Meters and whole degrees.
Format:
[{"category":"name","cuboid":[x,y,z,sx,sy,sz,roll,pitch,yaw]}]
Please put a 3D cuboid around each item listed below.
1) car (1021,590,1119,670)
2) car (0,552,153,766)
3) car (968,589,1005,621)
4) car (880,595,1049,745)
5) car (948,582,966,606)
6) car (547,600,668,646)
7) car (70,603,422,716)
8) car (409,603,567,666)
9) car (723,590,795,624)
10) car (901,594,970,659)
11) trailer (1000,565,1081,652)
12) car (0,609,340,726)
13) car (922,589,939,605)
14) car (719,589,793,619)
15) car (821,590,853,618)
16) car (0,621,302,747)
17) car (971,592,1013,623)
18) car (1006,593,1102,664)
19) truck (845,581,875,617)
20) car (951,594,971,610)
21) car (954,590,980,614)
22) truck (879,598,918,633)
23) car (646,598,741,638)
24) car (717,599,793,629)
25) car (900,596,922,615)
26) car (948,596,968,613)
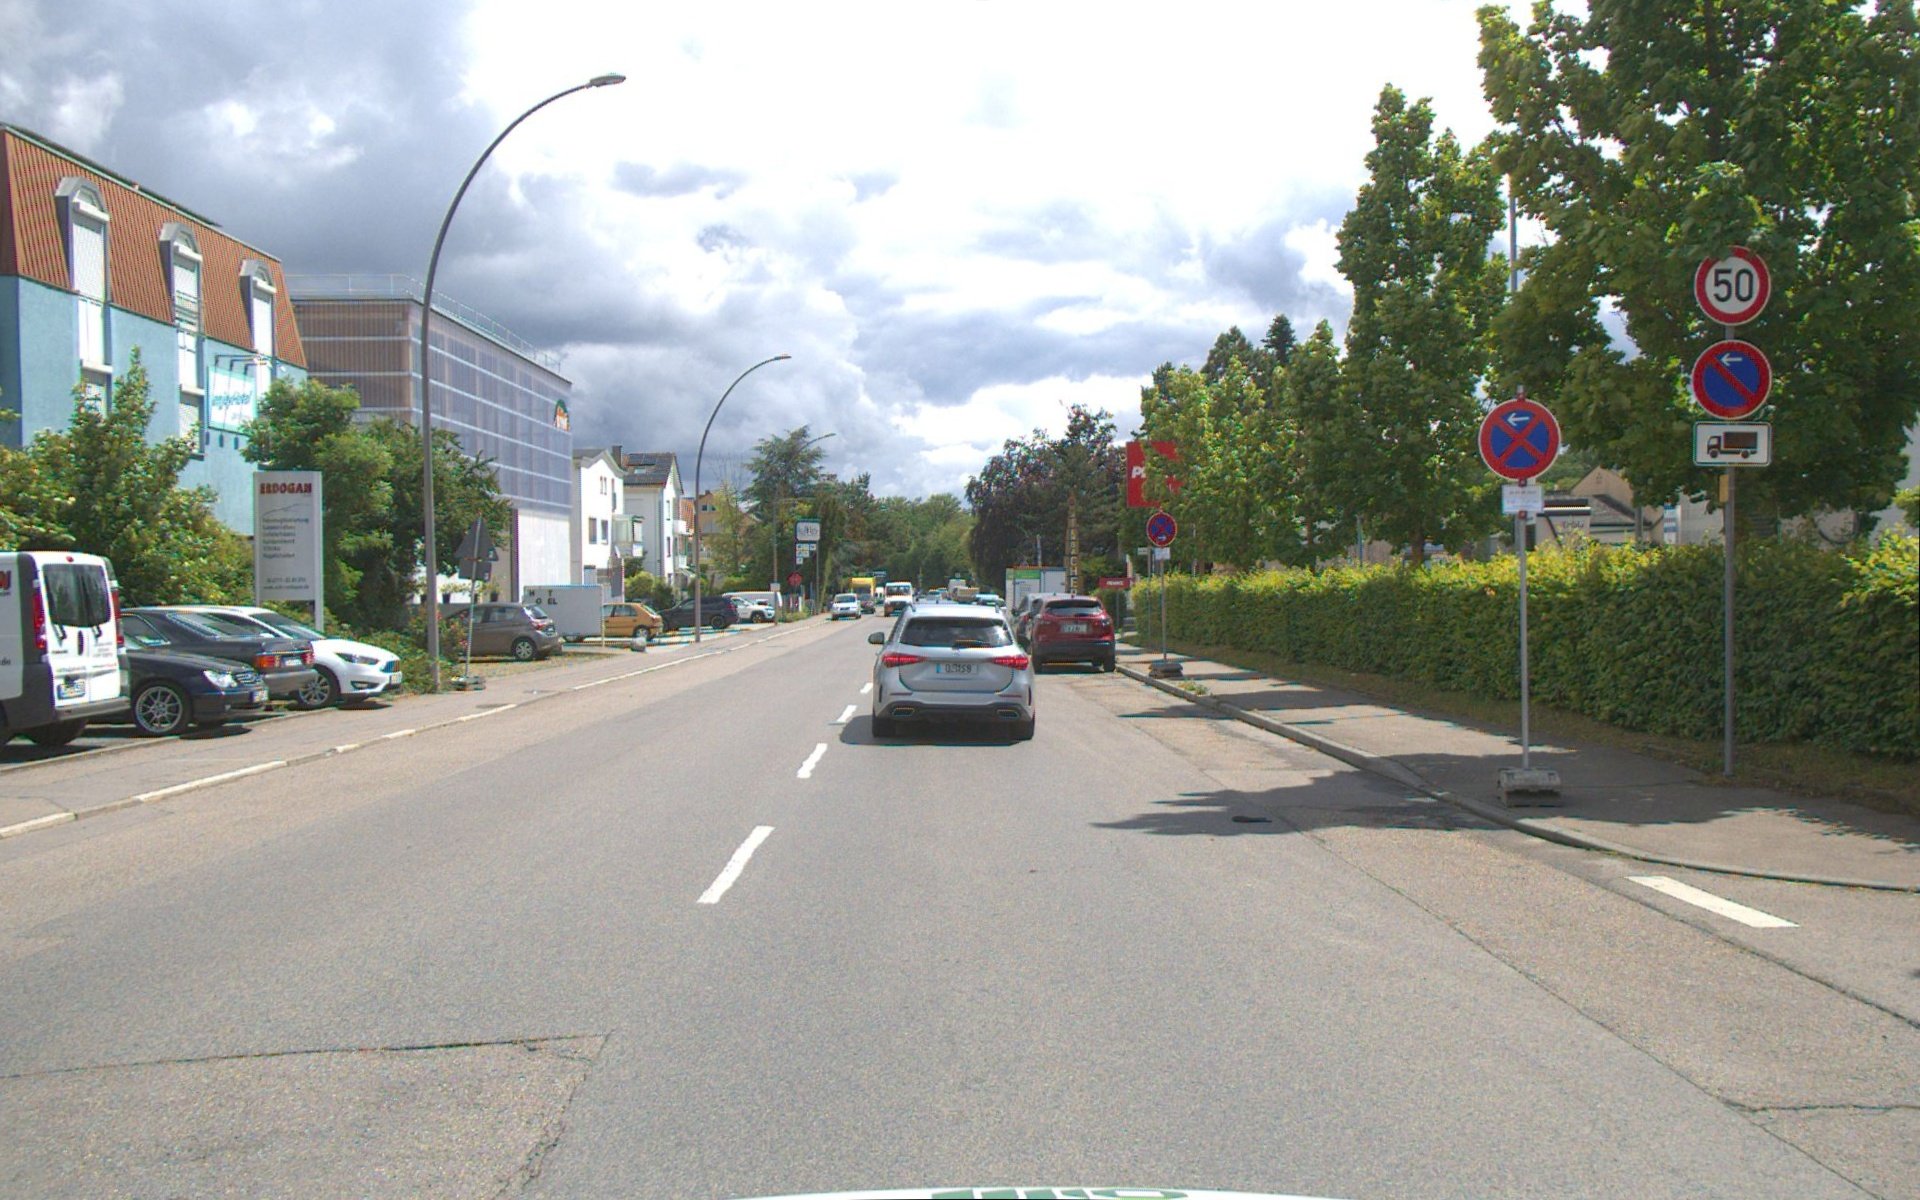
[{"category":"car","cuboid":[2.358,0.605,36.411,1.901,1.599,4.446,-1,1,1]},{"category":"car","cuboid":[-10.850,0.583,16.457,4.560,2.006,2.113,-1,1,-5]},{"category":"car","cuboid":[1.415,0.251,89.025,1.756,1.579,4.572,-2,1,-2]},{"category":"car","cuboid":[-0.057,0.721,19.263,1.749,1.510,4.314,0,1,-3]},{"category":"car","cuboid":[-0.317,-0.608,179.833,1.749,2.562,4.314,0,0,-3]},{"category":"car","cuboid":[-12.808,0.823,60.307,4.068,1.518,1.824,1,0,-5]},{"category":"car","cuboid":[-10.316,0.843,24.130,4.286,1.504,1.871,-1,-1,-1]},{"category":"car","cuboid":[-12.417,0.890,43.645,3.553,1.559,1.980,-1,0,1]},{"category":"car","cuboid":[-12.295,0.446,101.327,4.193,1.868,1.990,-1,-3,-2]},{"category":"car","cuboid":[-0.667,0.653,43.206,1.720,1.585,3.999,-1,1,-2]},{"category":"trailer","cuboid":[2.260,0.224,47.515,1.902,2.334,4.443,-1,0,-2]},{"category":"car","cuboid":[-10.443,0.854,21.636,3.904,1.379,1.872,-1,1,1]},{"category":"car","cuboid":[-3.058,-0.277,169.587,1.720,1.585,3.999,-1,1,-2]},{"category":"car","cuboid":[-12.185,0.255,99.044,4.193,1.594,1.990,-1,-3,-2]},{"category":"car","cuboid":[-7.885,0.236,106.480,1.755,1.631,4.362,-2,1,-1]},{"category":"car","cuboid":[-10.010,0.954,19.300,3.907,1.338,1.870,-1,0,-3]},{"category":"car","cuboid":[1.595,0.353,83.344,1.756,1.475,4.360,-2,1,-3]},{"category":"car","cuboid":[2.307,0.670,41.581,1.903,1.599,4.443,-1,1,-3]},{"category":"truck","cuboid":[-8.458,-0.127,140.335,2.032,2.863,7.078,-2,1,0]},{"category":"car","cuboid":[0.100,0.191,161.110,1.749,1.510,4.314,0,0,-3]},{"category":"car","cuboid":[0.572,0.152,142.229,2.100,2.018,5.260,-1,0,-1]},{"category":"truck","cuboid":[-4.173,1.054,113.496,2.271,2.216,6.450,-2,1,1]},{"category":"car","cuboid":[-13.642,0.898,84.932,4.537,1.661,2.196,-4,1,-5]},{"category":"car","cuboid":[-11.885,0.828,96.077,4.192,1.594,1.990,-1,-3,-1]},{"category":"car","cuboid":[-4.835,0.528,162.938,1.953,1.763,4.548,-2,1,0]},{"category":"car","cuboid":[-0.216,0.454,167.266,1.749,1.745,4.314,0,0,-3]}]
